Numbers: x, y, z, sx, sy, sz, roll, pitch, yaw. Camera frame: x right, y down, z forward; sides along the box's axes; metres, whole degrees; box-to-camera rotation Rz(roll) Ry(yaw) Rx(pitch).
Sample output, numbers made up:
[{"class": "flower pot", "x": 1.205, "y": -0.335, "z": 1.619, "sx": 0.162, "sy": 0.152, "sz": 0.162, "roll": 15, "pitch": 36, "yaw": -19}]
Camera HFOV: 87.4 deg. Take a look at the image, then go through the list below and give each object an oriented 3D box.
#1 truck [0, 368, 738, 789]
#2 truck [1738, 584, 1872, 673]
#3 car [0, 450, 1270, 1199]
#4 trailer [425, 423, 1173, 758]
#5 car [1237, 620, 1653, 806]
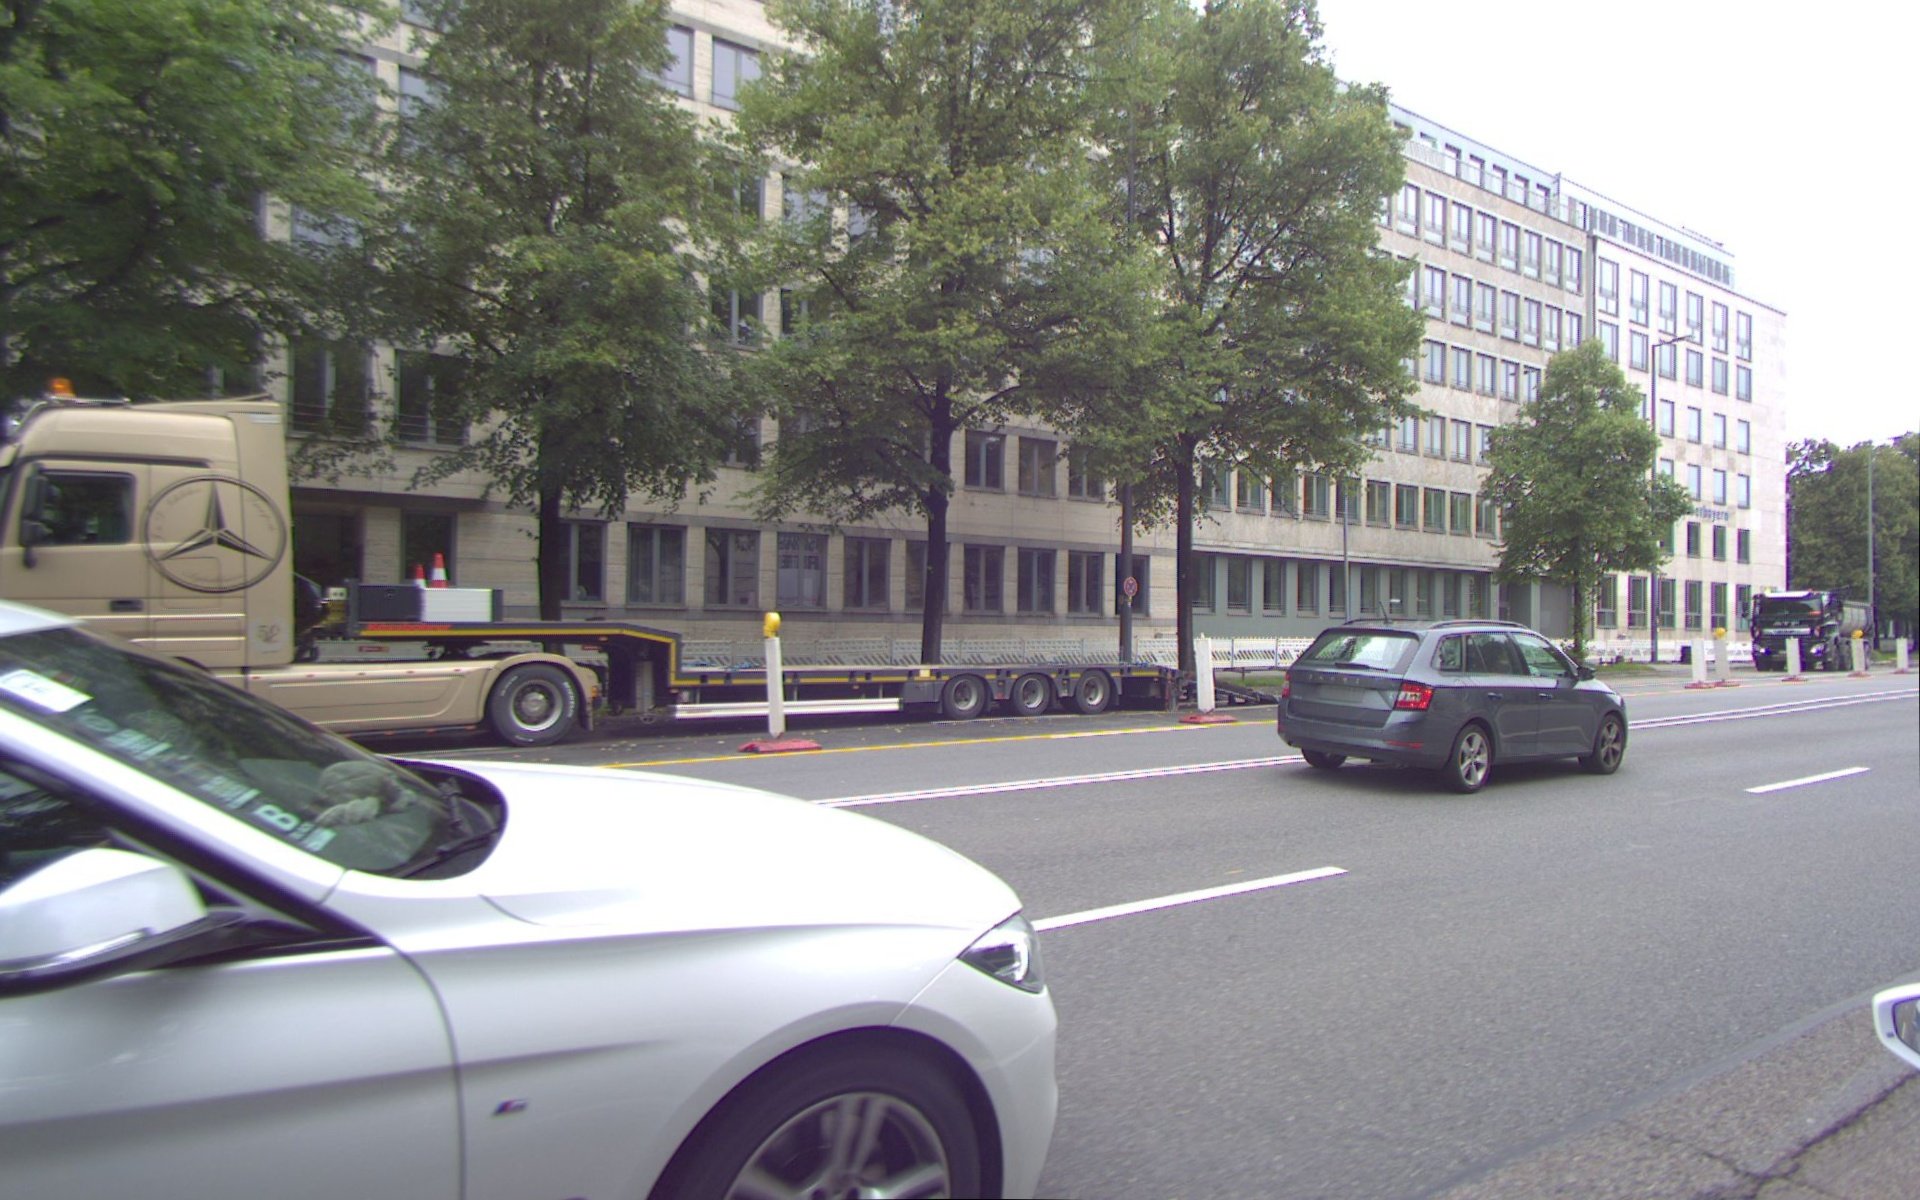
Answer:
[{"class": "truck", "x": -6.868, "y": -0.144, "z": 12.254, "sx": 7.590, "sy": 3.825, "sz": 2.896, "roll": 1, "pitch": 0, "yaw": -35}, {"class": "truck", "x": 35.866, "y": 1.160, "z": 42.517, "sx": 8.691, "sy": 3.401, "sz": 2.817, "roll": 1, "pitch": 0, "yaw": -40}, {"class": "car", "x": -1.864, "y": 0.664, "z": 1.721, "sx": 4.970, "sy": 1.658, "sz": 1.783, "roll": 2, "pitch": -2, "yaw": -32}, {"class": "trailer", "x": -1.736, "y": -0.009, "z": 15.957, "sx": 11.655, "sy": 3.790, "sz": 2.930, "roll": 1, "pitch": 0, "yaw": -36}, {"class": "car", "x": 4.834, "y": 0.957, "z": 9.829, "sx": 4.230, "sy": 1.466, "sz": 1.782, "roll": 2, "pitch": -2, "yaw": -34}]
